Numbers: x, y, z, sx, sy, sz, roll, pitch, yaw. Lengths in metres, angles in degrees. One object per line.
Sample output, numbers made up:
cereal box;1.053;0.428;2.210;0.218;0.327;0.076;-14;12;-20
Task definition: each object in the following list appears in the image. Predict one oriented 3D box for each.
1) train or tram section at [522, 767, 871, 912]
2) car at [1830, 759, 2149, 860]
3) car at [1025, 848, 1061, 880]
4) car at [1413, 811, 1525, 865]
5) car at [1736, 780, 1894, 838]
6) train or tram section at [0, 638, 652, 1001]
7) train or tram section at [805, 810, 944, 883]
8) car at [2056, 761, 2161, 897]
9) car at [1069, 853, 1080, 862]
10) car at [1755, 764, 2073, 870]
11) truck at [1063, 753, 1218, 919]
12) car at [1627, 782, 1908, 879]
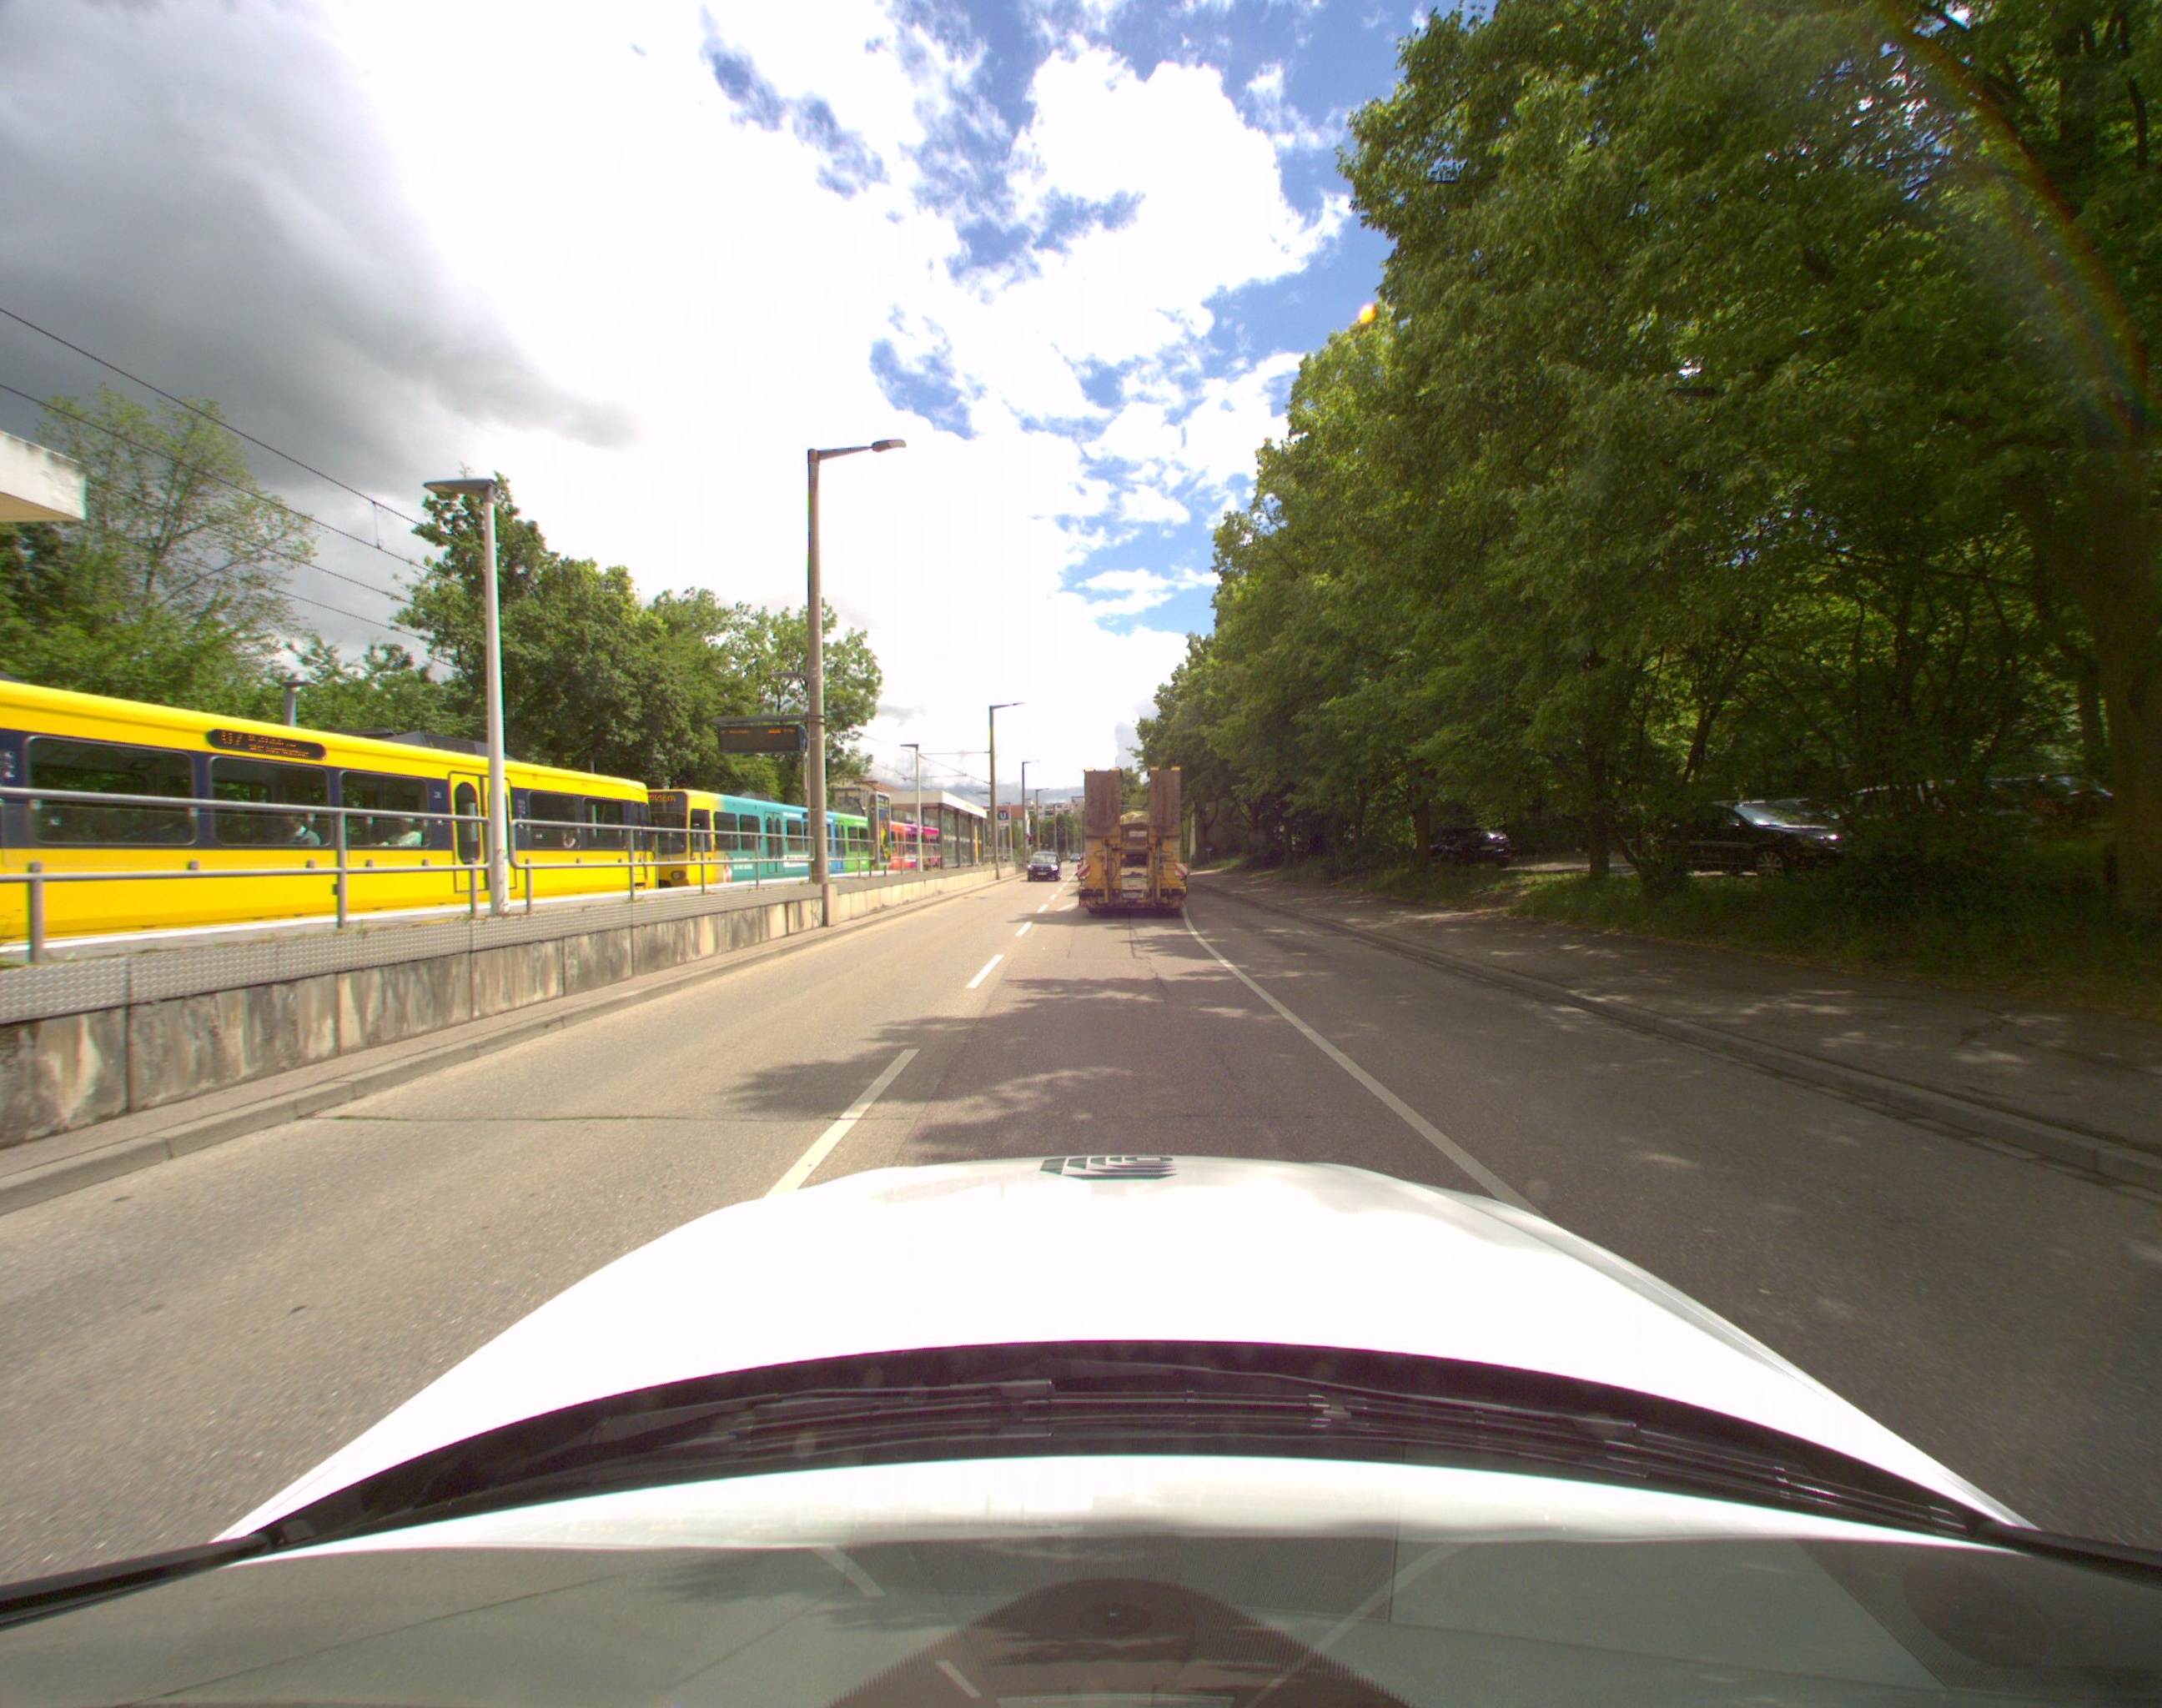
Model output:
train or tram section;-11.623;-0.359;28.975;3.097;3.464;19.199;0;0;1
car;17.156;-0.741;15.730;1.603;1.566;3.989;-5;0;0
car;-2.090;0.539;45.936;1.714;1.682;4.388;0;0;1
car;12.602;-0.466;26.765;1.709;1.507;4.161;-4;0;2
car;23.366;-1.384;26.141;1.643;1.507;3.899;-4;0;4
train or tram section;-11.860;-0.333;9.822;3.097;3.464;18.997;0;0;1
train or tram section;-11.378;-0.384;48.115;3.097;3.464;19.090;0;0;1
car;12.137;-0.313;7.475;1.607;1.413;3.810;-3;0;-6
car;-1.060;0.589;132.136;1.661;1.453;3.679;0;-1;0
car;14.703;-0.574;14.758;1.629;1.566;3.989;-3;0;0
truck;1.225;-0.429;25.473;3.393;3.732;13.729;-1;0;-2
car;12.345;-0.370;15.060;1.791;1.464;3.989;-3;0;0
